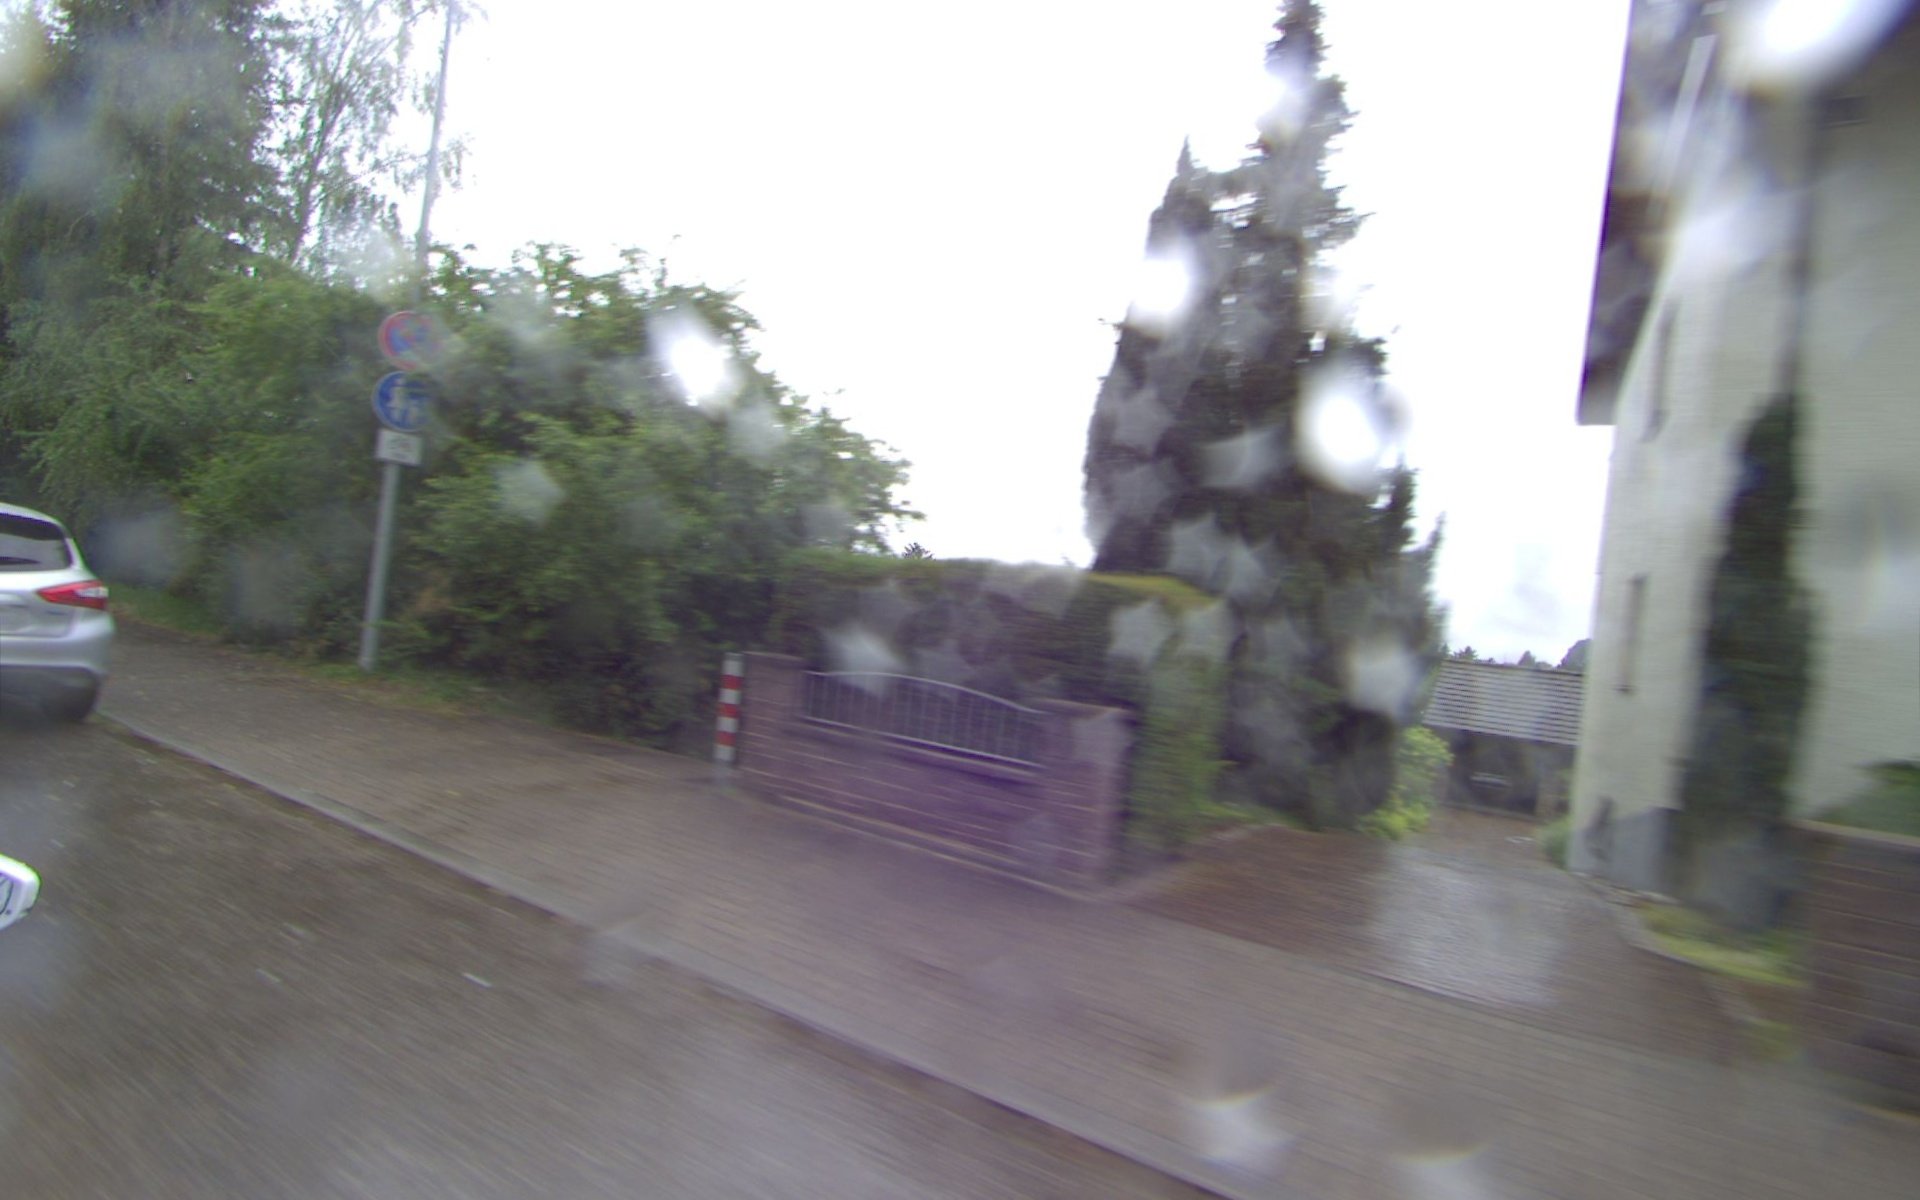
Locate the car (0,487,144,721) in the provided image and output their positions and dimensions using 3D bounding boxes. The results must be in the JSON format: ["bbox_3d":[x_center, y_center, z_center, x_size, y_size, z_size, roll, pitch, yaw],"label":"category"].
[{"bbox_3d":[-7.940,-0.141,7.389,4.240,1.476,1.791,5,-2,34],"label":"car"}]
